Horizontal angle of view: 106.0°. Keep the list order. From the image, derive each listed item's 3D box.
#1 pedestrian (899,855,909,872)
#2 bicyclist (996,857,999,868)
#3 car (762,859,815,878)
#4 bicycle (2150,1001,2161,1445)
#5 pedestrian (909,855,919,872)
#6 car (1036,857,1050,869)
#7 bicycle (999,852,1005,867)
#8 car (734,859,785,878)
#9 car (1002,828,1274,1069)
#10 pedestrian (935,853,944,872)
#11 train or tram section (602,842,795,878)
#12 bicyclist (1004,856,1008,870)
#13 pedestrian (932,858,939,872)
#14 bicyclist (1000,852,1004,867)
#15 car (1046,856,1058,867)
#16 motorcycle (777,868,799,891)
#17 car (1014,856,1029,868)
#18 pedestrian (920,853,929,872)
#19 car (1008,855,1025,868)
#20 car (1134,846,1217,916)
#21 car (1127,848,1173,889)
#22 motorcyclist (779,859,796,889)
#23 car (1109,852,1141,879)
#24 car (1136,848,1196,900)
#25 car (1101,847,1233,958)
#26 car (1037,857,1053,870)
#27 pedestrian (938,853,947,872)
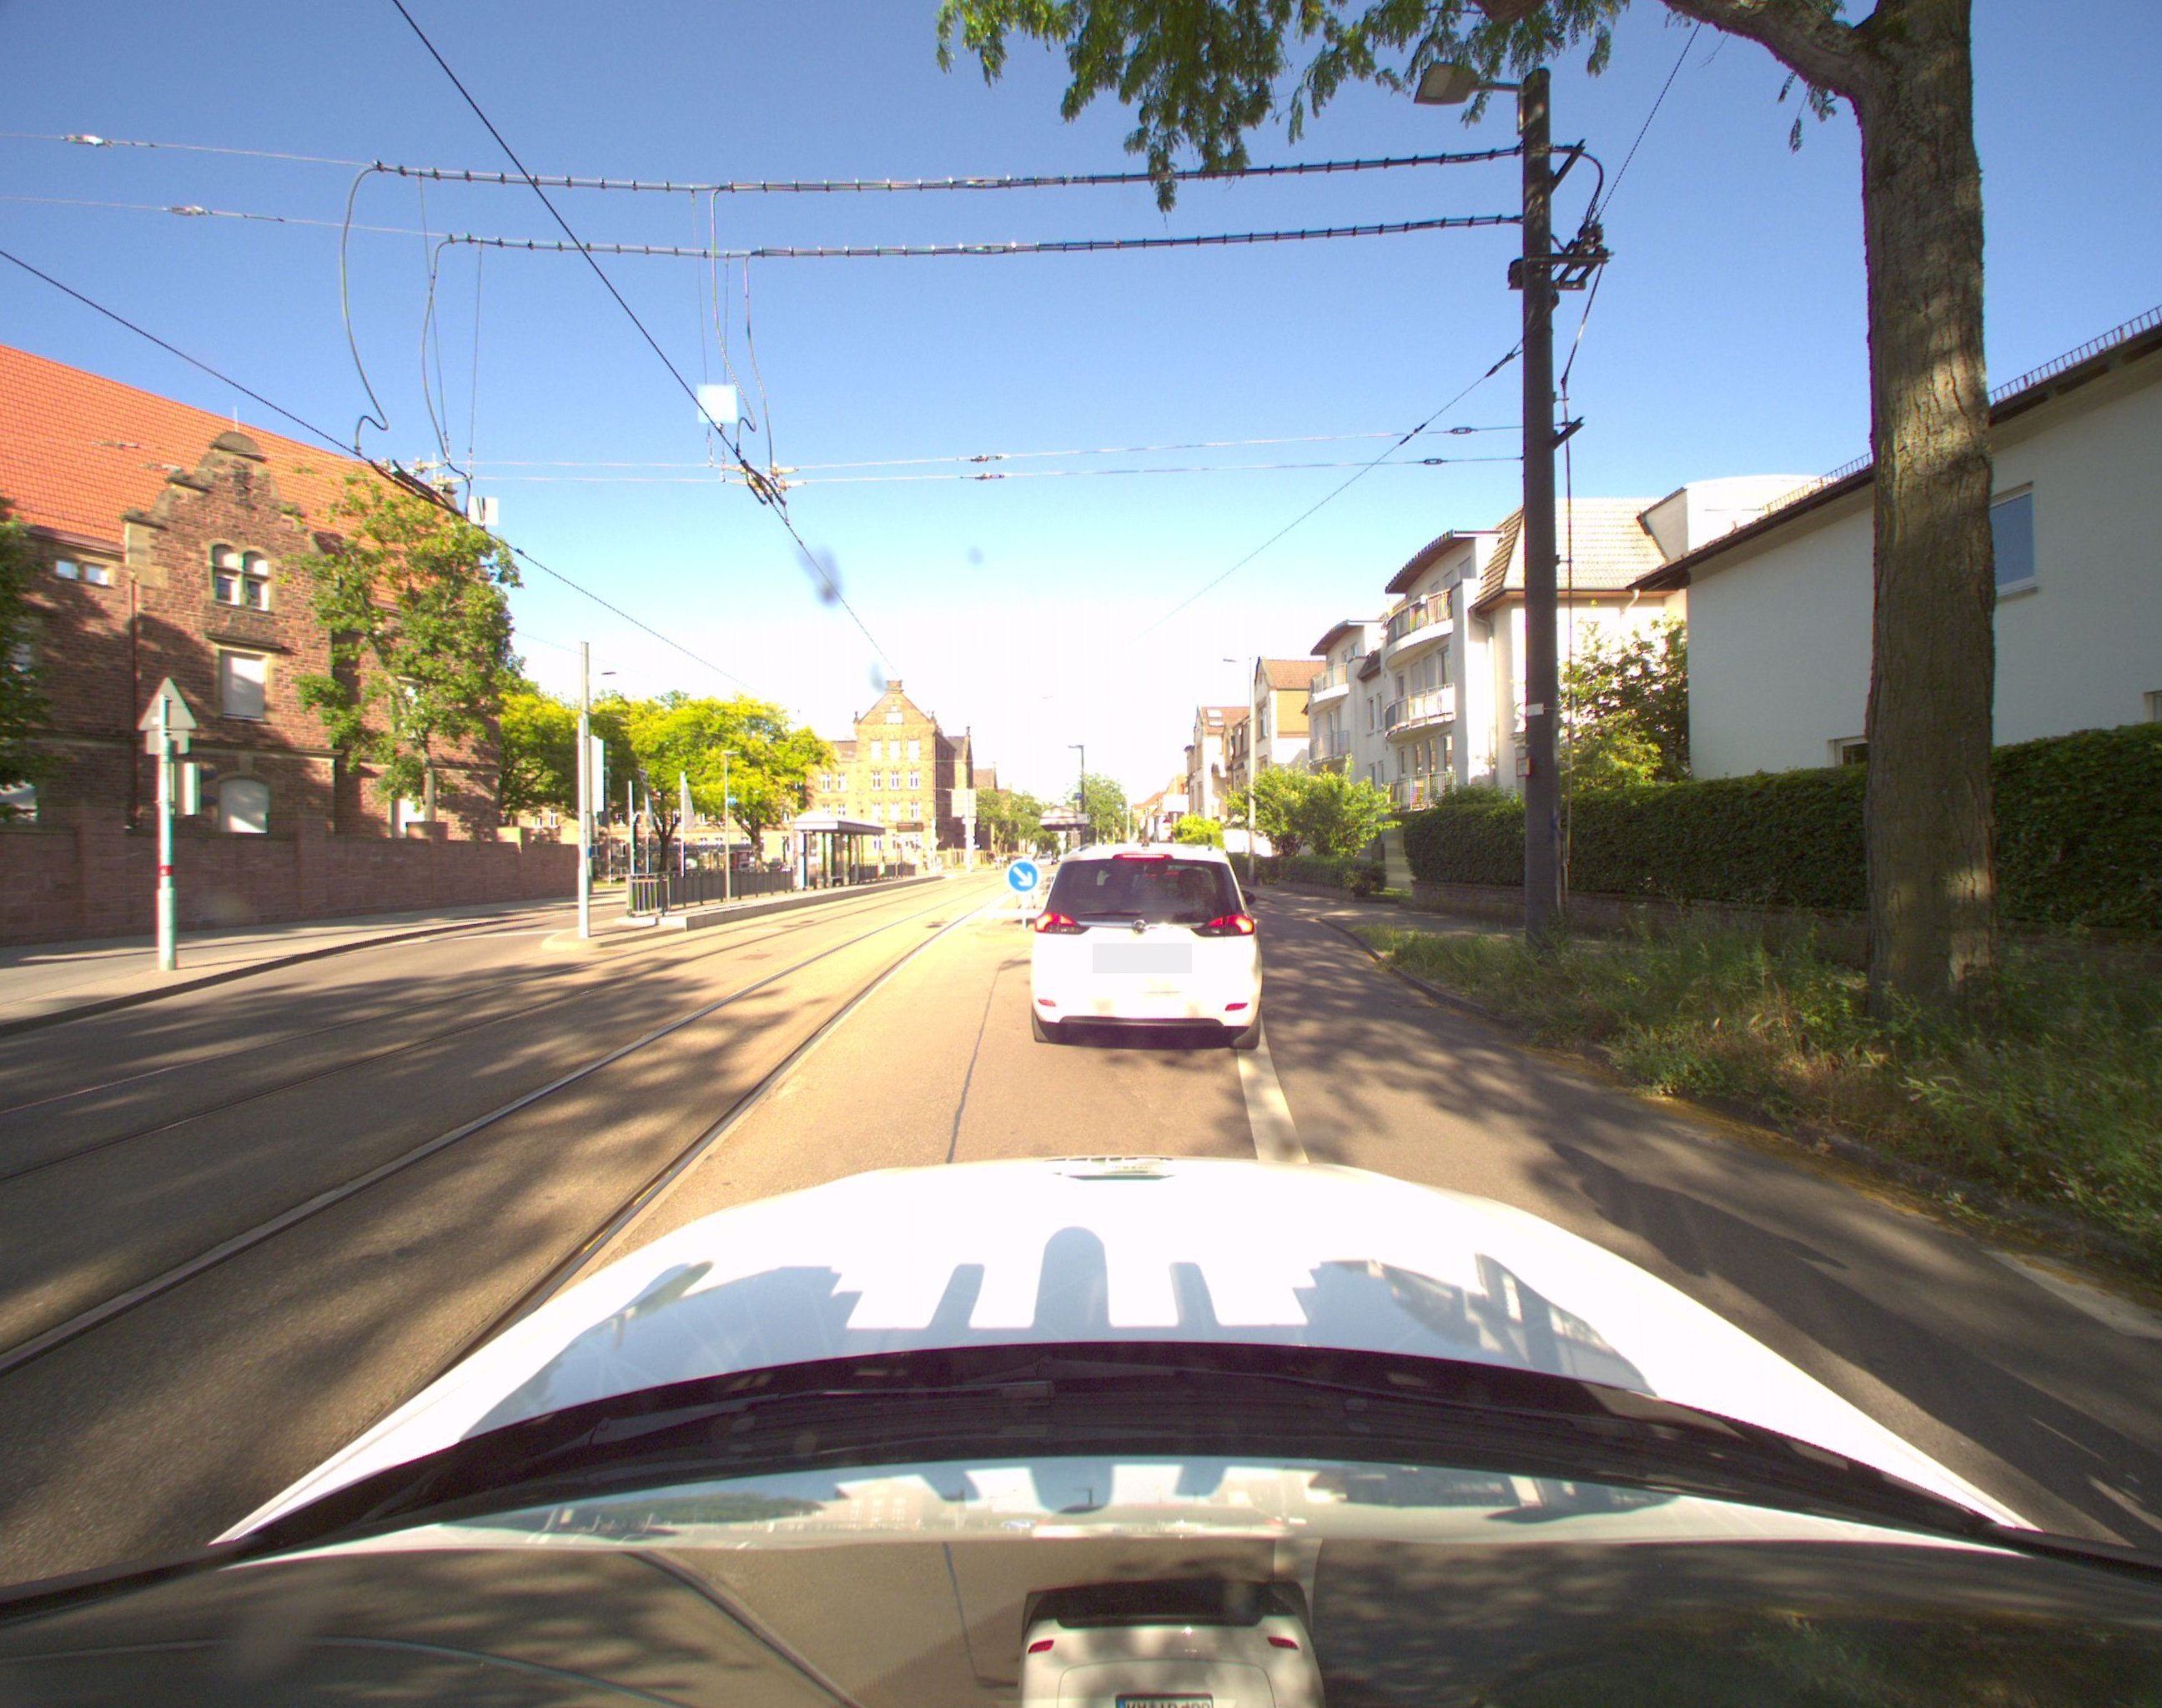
[{"bbox_3d":[-19.634,1.051,90.226,0.801,1.901,0.747,-1,-1,18],"label":"pedestrian"},{"bbox_3d":[-10.670,1.056,103.495,0.312,1.444,0.384,-1,0,1],"label":"bicyclist"},{"bbox_3d":[-25.447,1.245,70.966,3.976,1.630,1.817,0,-1,-2],"label":"car"},{"bbox_3d":[2.522,0.850,0.707,0.621,1.097,1.974,-1,0,2],"label":"bicycle"},{"bbox_3d":[-18.422,1.038,89.617,0.802,1.901,0.747,-1,-1,16],"label":"pedestrian"},{"bbox_3d":[-5.377,1.285,115.547,1.740,1.716,4.001,0,-1,2],"label":"car"},{"bbox_3d":[-10.627,0.778,109.706,0.485,2.013,1.406,-1,0,2],"label":"bicycle"},{"bbox_3d":[-29.655,1.322,75.208,3.976,1.630,1.817,0,-1,-2],"label":"car"},{"bbox_3d":[0.701,0.666,7.747,1.896,1.661,4.010,-1,0,9],"label":"car"},{"bbox_3d":[-15.558,0.937,89.531,0.801,2.014,0.713,0,-1,-35],"label":"pedestrian"},{"bbox_3d":[-37.846,0.586,81.140,17.346,3.154,3.344,-1,-1,-3],"label":"train or tram section"},{"bbox_3d":[-10.279,1.218,112.022,0.486,2.014,0.502,0,-1,1],"label":"bicyclist"},{"bbox_3d":[-17.165,1.258,95.878,0.651,1.612,0.712,0,-1,4],"label":"pedestrian"},{"bbox_3d":[-10.629,0.778,109.684,0.496,2.013,0.572,-1,0,1],"label":"bicyclist"},{"bbox_3d":[-4.611,1.178,129.394,1.740,1.716,4.001,0,-1,2],"label":"car"},{"bbox_3d":[-14.603,1.257,40.609,0.609,1.093,1.851,-1,0,-7],"label":"motorcycle"},{"bbox_3d":[-8.336,1.114,114.116,1.740,1.716,4.001,0,-1,2],"label":"car"},{"bbox_3d":[-17.066,0.943,88.944,0.800,2.014,0.713,0,-1,-32],"label":"pedestrian"},{"bbox_3d":[-8.504,1.029,107.448,1.740,1.716,4.001,0,-1,2],"label":"car"},{"bbox_3d":[2.524,0.639,21.071,1.896,1.624,4.010,-1,0,9],"label":"car"},{"bbox_3d":[2.998,0.616,36.187,1.899,1.661,4.003,-1,0,3],"label":"car"},{"bbox_3d":[-14.595,0.995,40.530,0.683,1.440,0.445,-1,0,-8],"label":"motorcyclist"},{"bbox_3d":[2.842,0.750,53.179,1.901,1.661,4.000,-1,0,0],"label":"car"},{"bbox_3d":[2.979,0.652,28.343,1.897,1.661,4.007,-1,0,6],"label":"car"},{"bbox_3d":[1.563,0.710,13.865,1.896,1.597,4.010,-1,0,9],"label":"car"},{"bbox_3d":[-4.713,1.254,107.669,1.740,1.716,4.001,0,-1,2],"label":"car"},{"bbox_3d":[-14.554,0.870,85.511,0.796,2.014,0.717,0,-1,-15],"label":"pedestrian"}]
